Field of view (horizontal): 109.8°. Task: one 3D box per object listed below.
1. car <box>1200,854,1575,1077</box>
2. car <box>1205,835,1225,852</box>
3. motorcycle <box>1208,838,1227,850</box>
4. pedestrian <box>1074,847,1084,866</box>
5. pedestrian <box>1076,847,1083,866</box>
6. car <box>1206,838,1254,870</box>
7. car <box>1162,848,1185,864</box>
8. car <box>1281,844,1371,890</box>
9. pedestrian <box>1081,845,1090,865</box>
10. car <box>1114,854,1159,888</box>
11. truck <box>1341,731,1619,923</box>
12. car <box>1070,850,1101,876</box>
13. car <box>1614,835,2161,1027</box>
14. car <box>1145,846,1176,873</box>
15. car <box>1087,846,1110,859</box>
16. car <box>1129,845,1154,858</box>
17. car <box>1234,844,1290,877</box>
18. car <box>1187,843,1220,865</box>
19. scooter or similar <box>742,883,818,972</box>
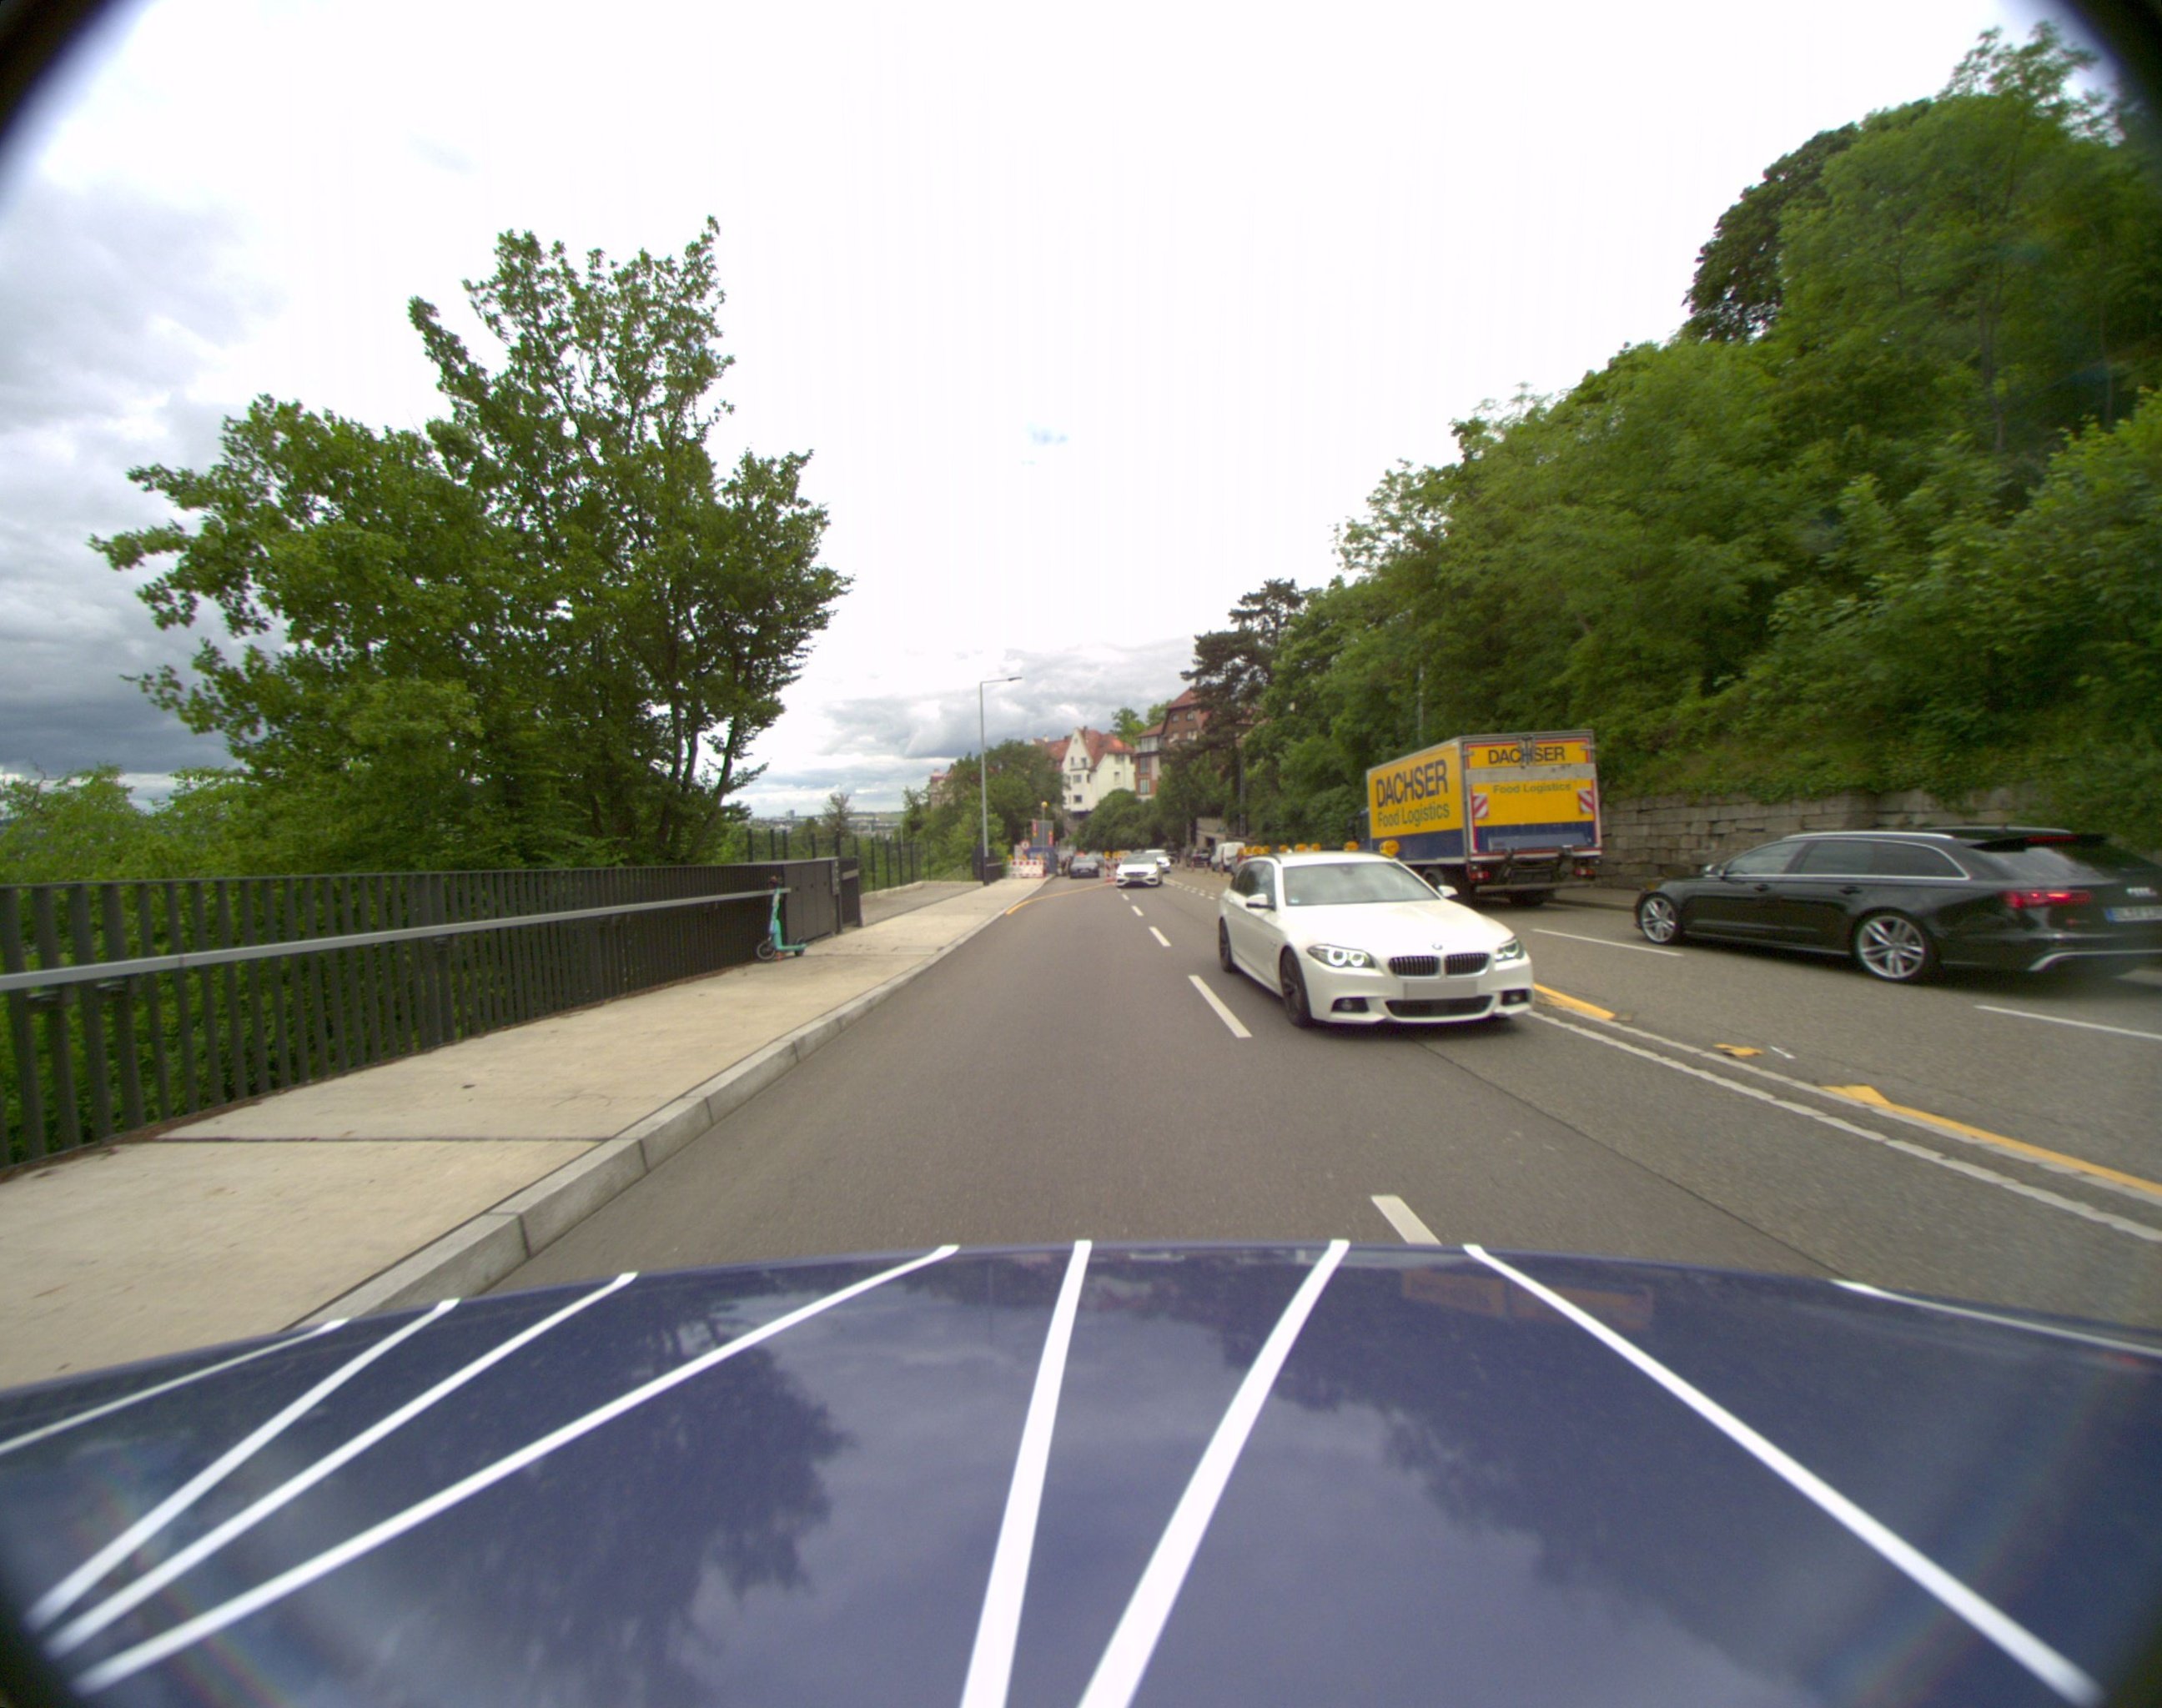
[{"bbox_3d":[2.612,0.806,7.943,1.852,1.458,4.877,-4,1,0],"label":"car"},{"bbox_3d":[14.845,-1.194,84.434,1.572,1.596,3.584,-4,5,1],"label":"car"},{"bbox_3d":[14.763,-1.056,82.204,1.842,1.177,0.636,-3,5,4],"label":"motorcycle"},{"bbox_3d":[-0.169,0.237,74.175,0.620,1.873,0.717,0,-2,-39],"label":"pedestrian"},{"bbox_3d":[-0.128,0.262,73.099,0.527,1.832,0.796,0,1,-10],"label":"pedestrian"},{"bbox_3d":[9.188,0.002,47.190,1.808,1.780,4.340,-4,1,-3],"label":"car"},{"bbox_3d":[9.387,0.186,77.319,1.833,1.476,4.318,-4,1,1],"label":"car"},{"bbox_3d":[8.863,0.416,27.908,1.775,1.433,4.745,-4,1,1],"label":"car"},{"bbox_3d":[0.417,0.119,72.015,0.640,1.848,0.834,0,1,-10],"label":"pedestrian"},{"bbox_3d":[2.375,0.706,33.121,1.797,1.299,4.101,-2,0,3],"label":"car"},{"bbox_3d":[8.741,-0.548,17.918,2.737,3.490,7.349,-2,1,1],"label":"truck"},{"bbox_3d":[0.325,0.546,48.379,1.844,1.447,4.627,-3,0,1],"label":"car"},{"bbox_3d":[8.439,0.577,8.311,1.814,1.421,4.874,-3,0,1],"label":"car"},{"bbox_3d":[5.283,0.337,50.736,1.885,1.569,4.001,-3,1,4],"label":"car"},{"bbox_3d":[2.572,-0.179,111.929,1.771,1.587,3.784,-8,3,-23],"label":"car"},{"bbox_3d":[7.683,-0.315,96.162,1.825,1.426,3.710,-7,2,-16],"label":"car"},{"bbox_3d":[9.275,0.298,39.344,1.796,1.499,4.311,-4,1,0],"label":"car"},{"bbox_3d":[9.576,-0.049,59.538,1.835,1.583,4.654,-4,1,1],"label":"car"},{"bbox_3d":[-4.457,1.057,11.326,0.535,1.219,1.207,0,0,7],"label":"scooter or similar"}]
